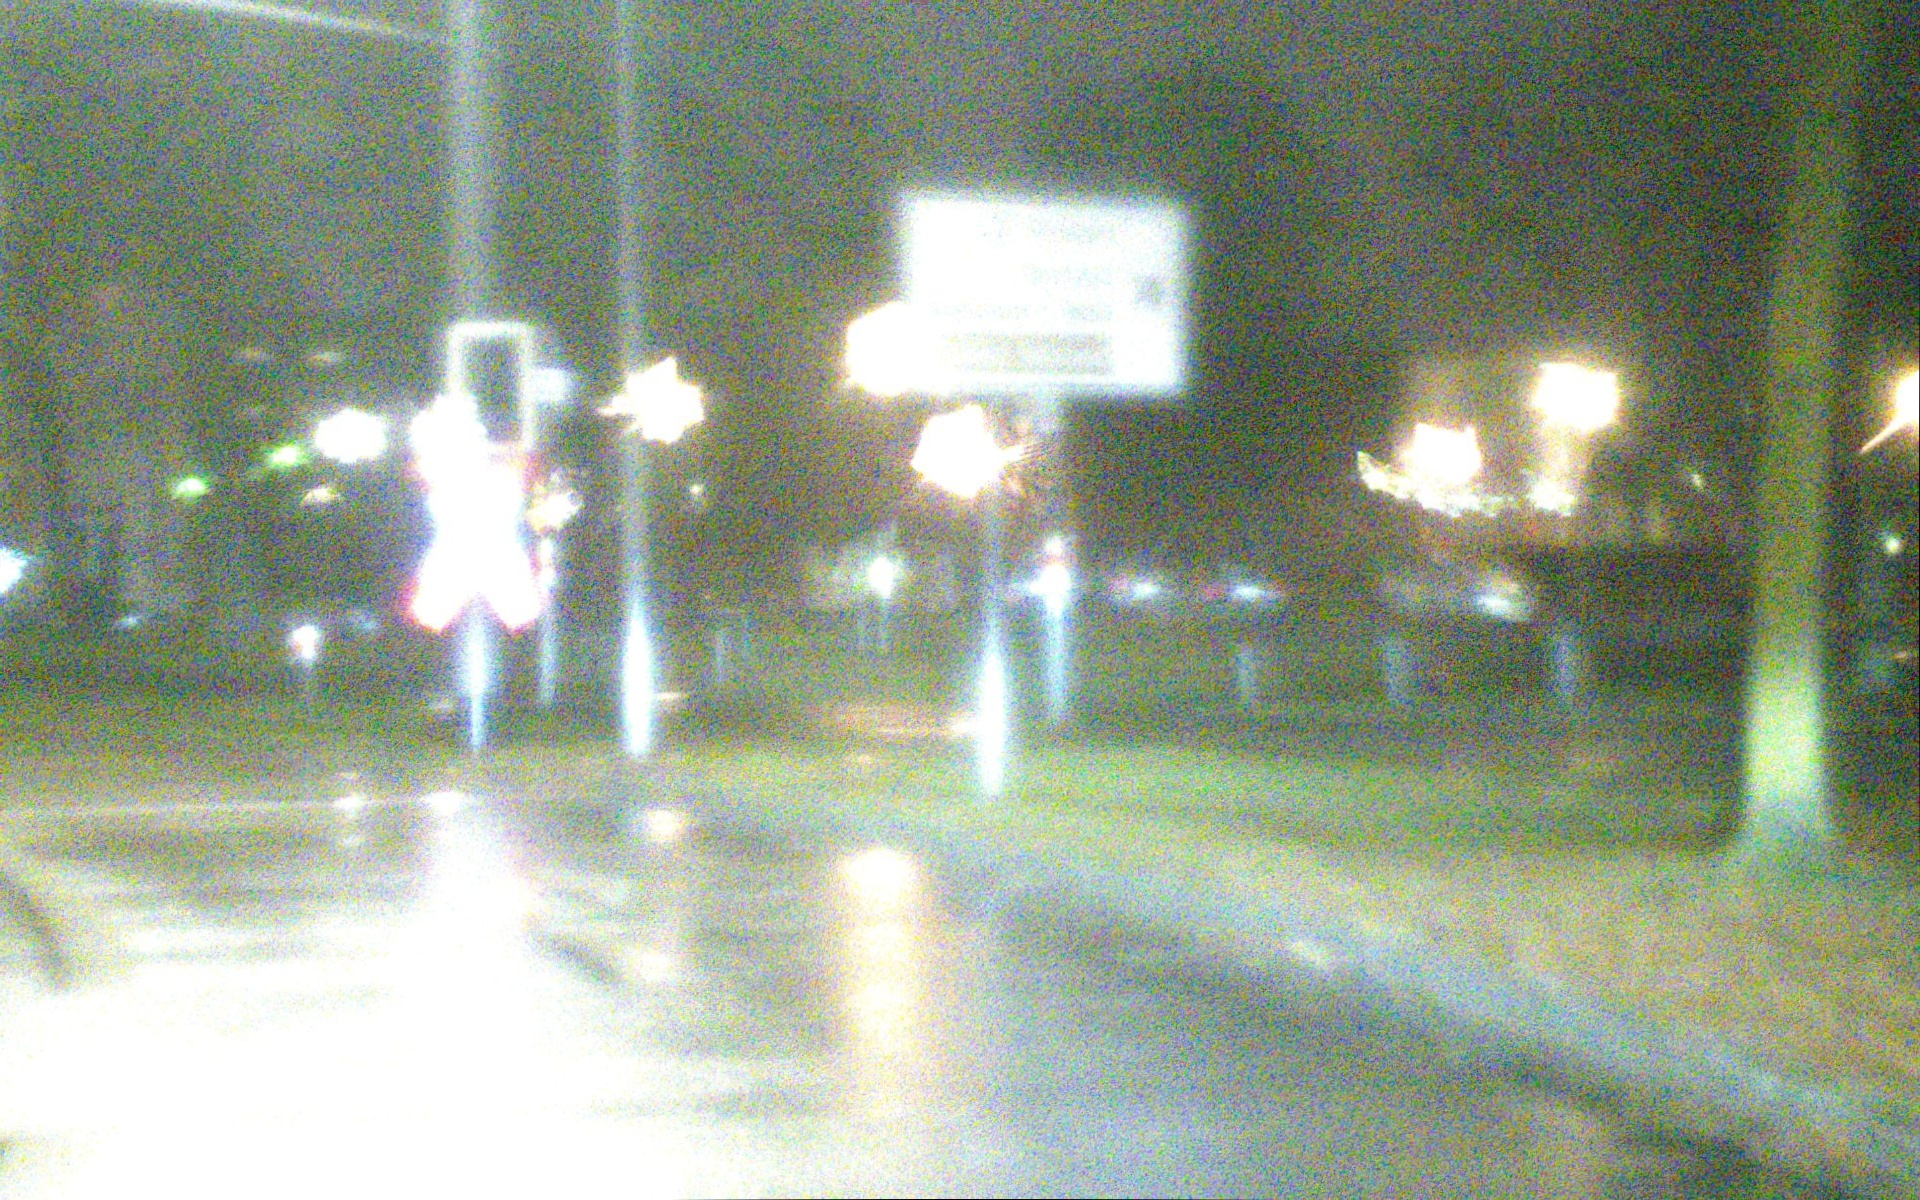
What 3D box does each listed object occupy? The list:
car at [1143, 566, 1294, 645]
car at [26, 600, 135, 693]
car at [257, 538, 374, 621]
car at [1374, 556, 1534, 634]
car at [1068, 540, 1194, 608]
[{"bbox_3d":[5.133,0.096,68.728,1.716,1.531,3.913,0,0,-17],"label":"car"},{"bbox_3d":[-15.927,0.859,62.137,1.716,1.492,3.912,-1,-3,-17],"label":"car"},{"bbox_3d":[-11.960,-0.373,63.665,1.716,1.491,3.913,0,0,-17],"label":"car"},{"bbox_3d":[9.992,-0.101,69.837,1.716,1.531,3.913,0,0,-17],"label":"car"},{"bbox_3d":[3.967,-0.598,80.319,1.716,1.531,3.913,0,0,-17],"label":"car"}]
